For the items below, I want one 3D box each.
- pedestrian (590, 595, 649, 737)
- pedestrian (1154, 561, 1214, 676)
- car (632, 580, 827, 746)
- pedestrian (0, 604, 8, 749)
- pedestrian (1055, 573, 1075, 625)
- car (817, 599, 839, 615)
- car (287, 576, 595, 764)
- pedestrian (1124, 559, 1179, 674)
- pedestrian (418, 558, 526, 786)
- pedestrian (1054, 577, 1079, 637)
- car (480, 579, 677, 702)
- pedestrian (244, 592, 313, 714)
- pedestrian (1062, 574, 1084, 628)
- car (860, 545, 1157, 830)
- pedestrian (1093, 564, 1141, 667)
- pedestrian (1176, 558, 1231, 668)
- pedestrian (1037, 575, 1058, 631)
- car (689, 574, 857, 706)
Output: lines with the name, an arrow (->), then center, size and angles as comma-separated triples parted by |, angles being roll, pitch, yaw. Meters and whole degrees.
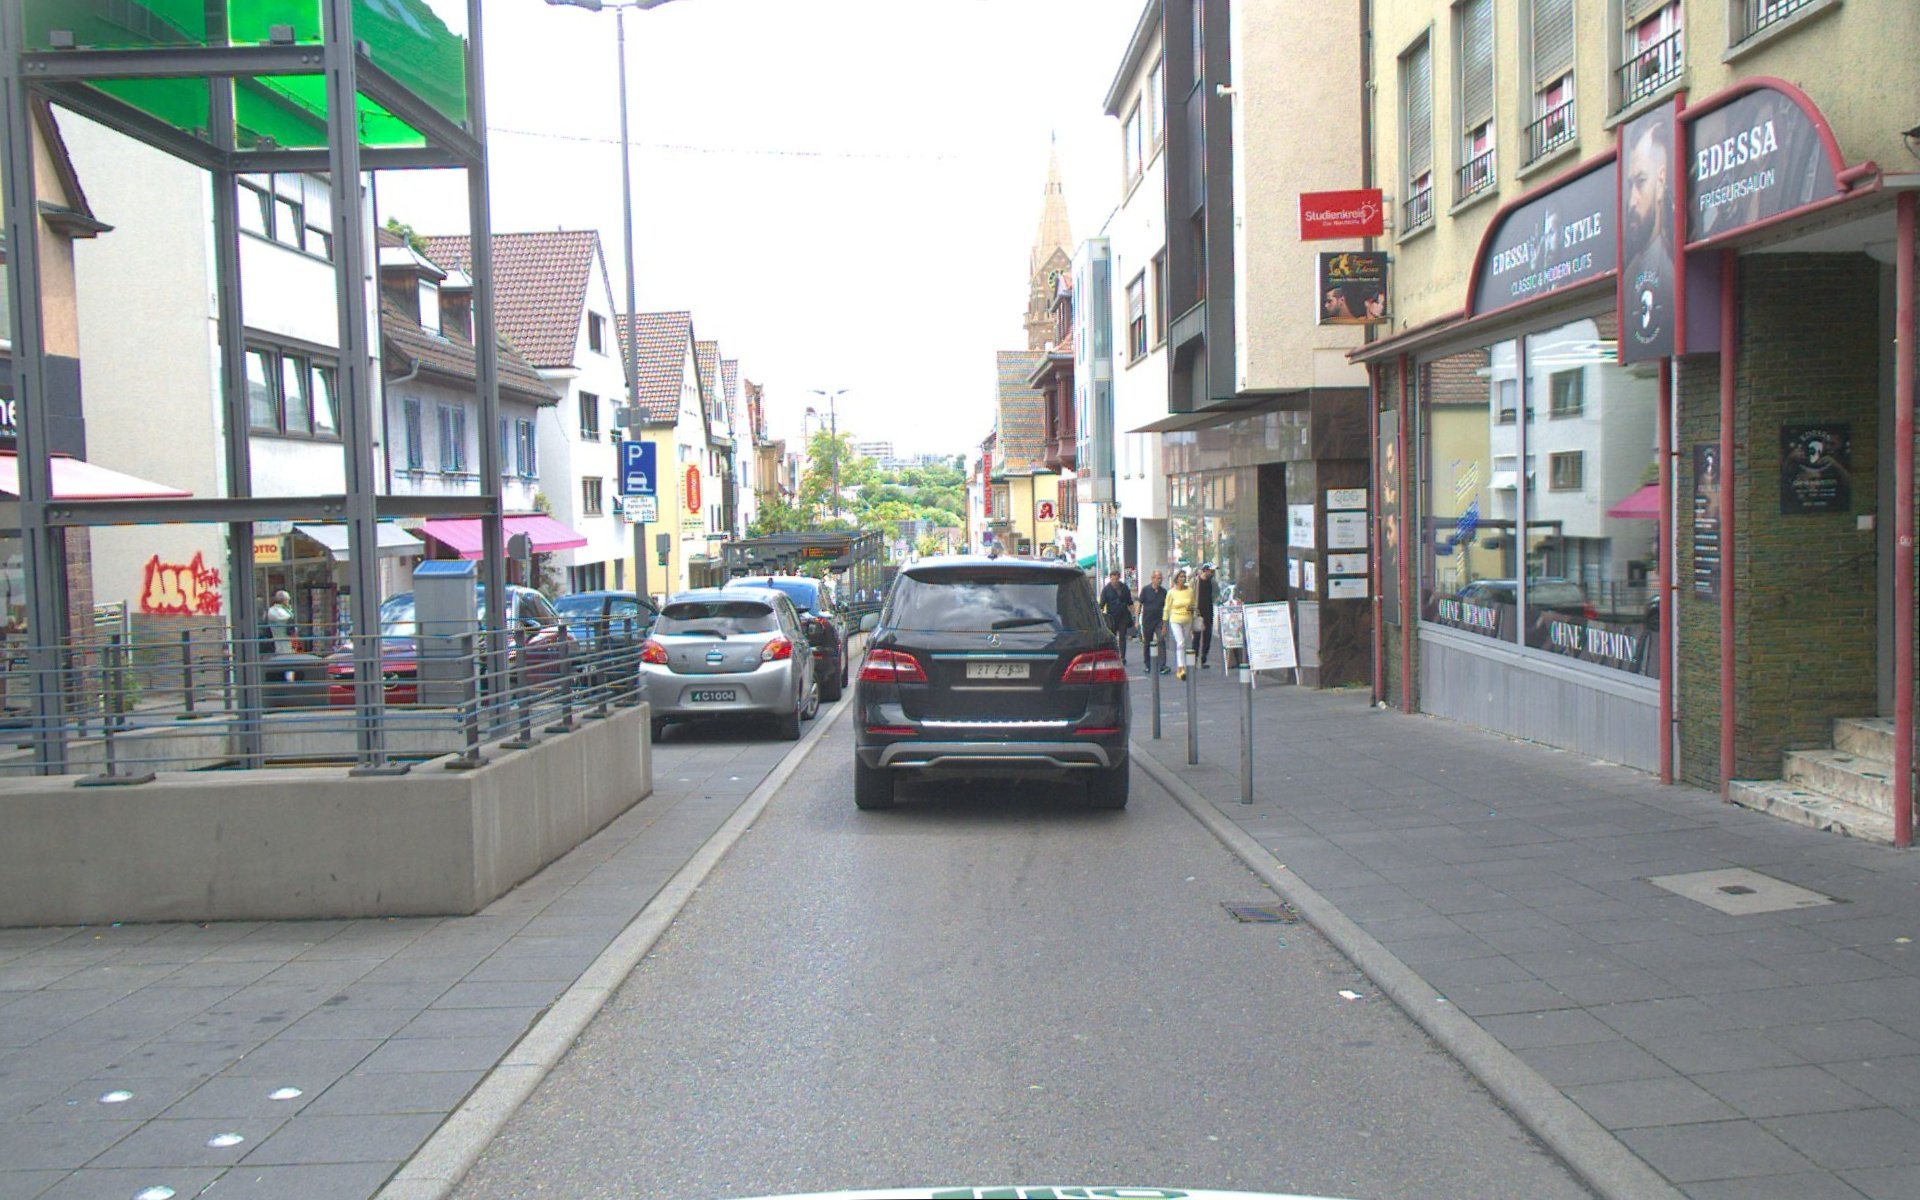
pedestrian -> -3.596, 0.684, 17.504 | 0.457, 1.456, 0.492 | -3, 0, -1
pedestrian -> 3.336, 0.266, 24.648 | 0.696, 1.659, 0.835 | -3, 0, -1
car -> -2.329, 0.590, 17.473 | 1.587, 1.559, 3.669 | 1, 0, -1
pedestrian -> -10.960, 0.866, 18.141 | 0.553, 1.601, 0.716 | -3, 0, -1
pedestrian -> 3.479, -0.040, 54.877 | 0.562, 1.718, 0.565 | 1, 0, -7
car -> -9.472, 0.498, 118.932 | 1.360, 1.089, 3.112 | -2, 0, -1
car -> -4.833, 0.578, 16.025 | 1.703, 1.570, 4.192 | 1, 0, -1
pedestrian -> 3.067, 0.254, 26.554 | 0.696, 1.784, 0.785 | -3, 0, -1
pedestrian -> -3.765, 0.532, 12.816 | 0.522, 1.701, 0.901 | 0, 1, 2
pedestrian -> 3.108, 0.199, 48.273 | 0.609, 1.718, 0.565 | 1, 0, -7
car -> -5.160, 0.486, 22.874 | 1.703, 1.501, 3.885 | 1, 1, 2
pedestrian -> -9.866, 0.757, 23.940 | 0.634, 1.718, 0.663 | -1, 1, 39
pedestrian -> 3.678, 0.039, 53.928 | 0.562, 1.718, 0.565 | -2, 0, -7
car -> 0.225, 0.547, 12.437 | 1.862, 1.777, 3.998 | 1, 0, -3
pedestrian -> 2.823, 0.269, 29.749 | 0.696, 1.784, 0.787 | -3, 0, -1
pedestrian -> 3.958, 0.205, 26.938 | 0.650, 1.718, 0.542 | -4, 1, -7
pedestrian -> 2.779, 0.105, 52.581 | 0.532, 1.756, 0.527 | -1, 0, -7
car -> -2.512, 0.498, 23.205 | 1.917, 1.668, 4.313 | 1, 0, -1
